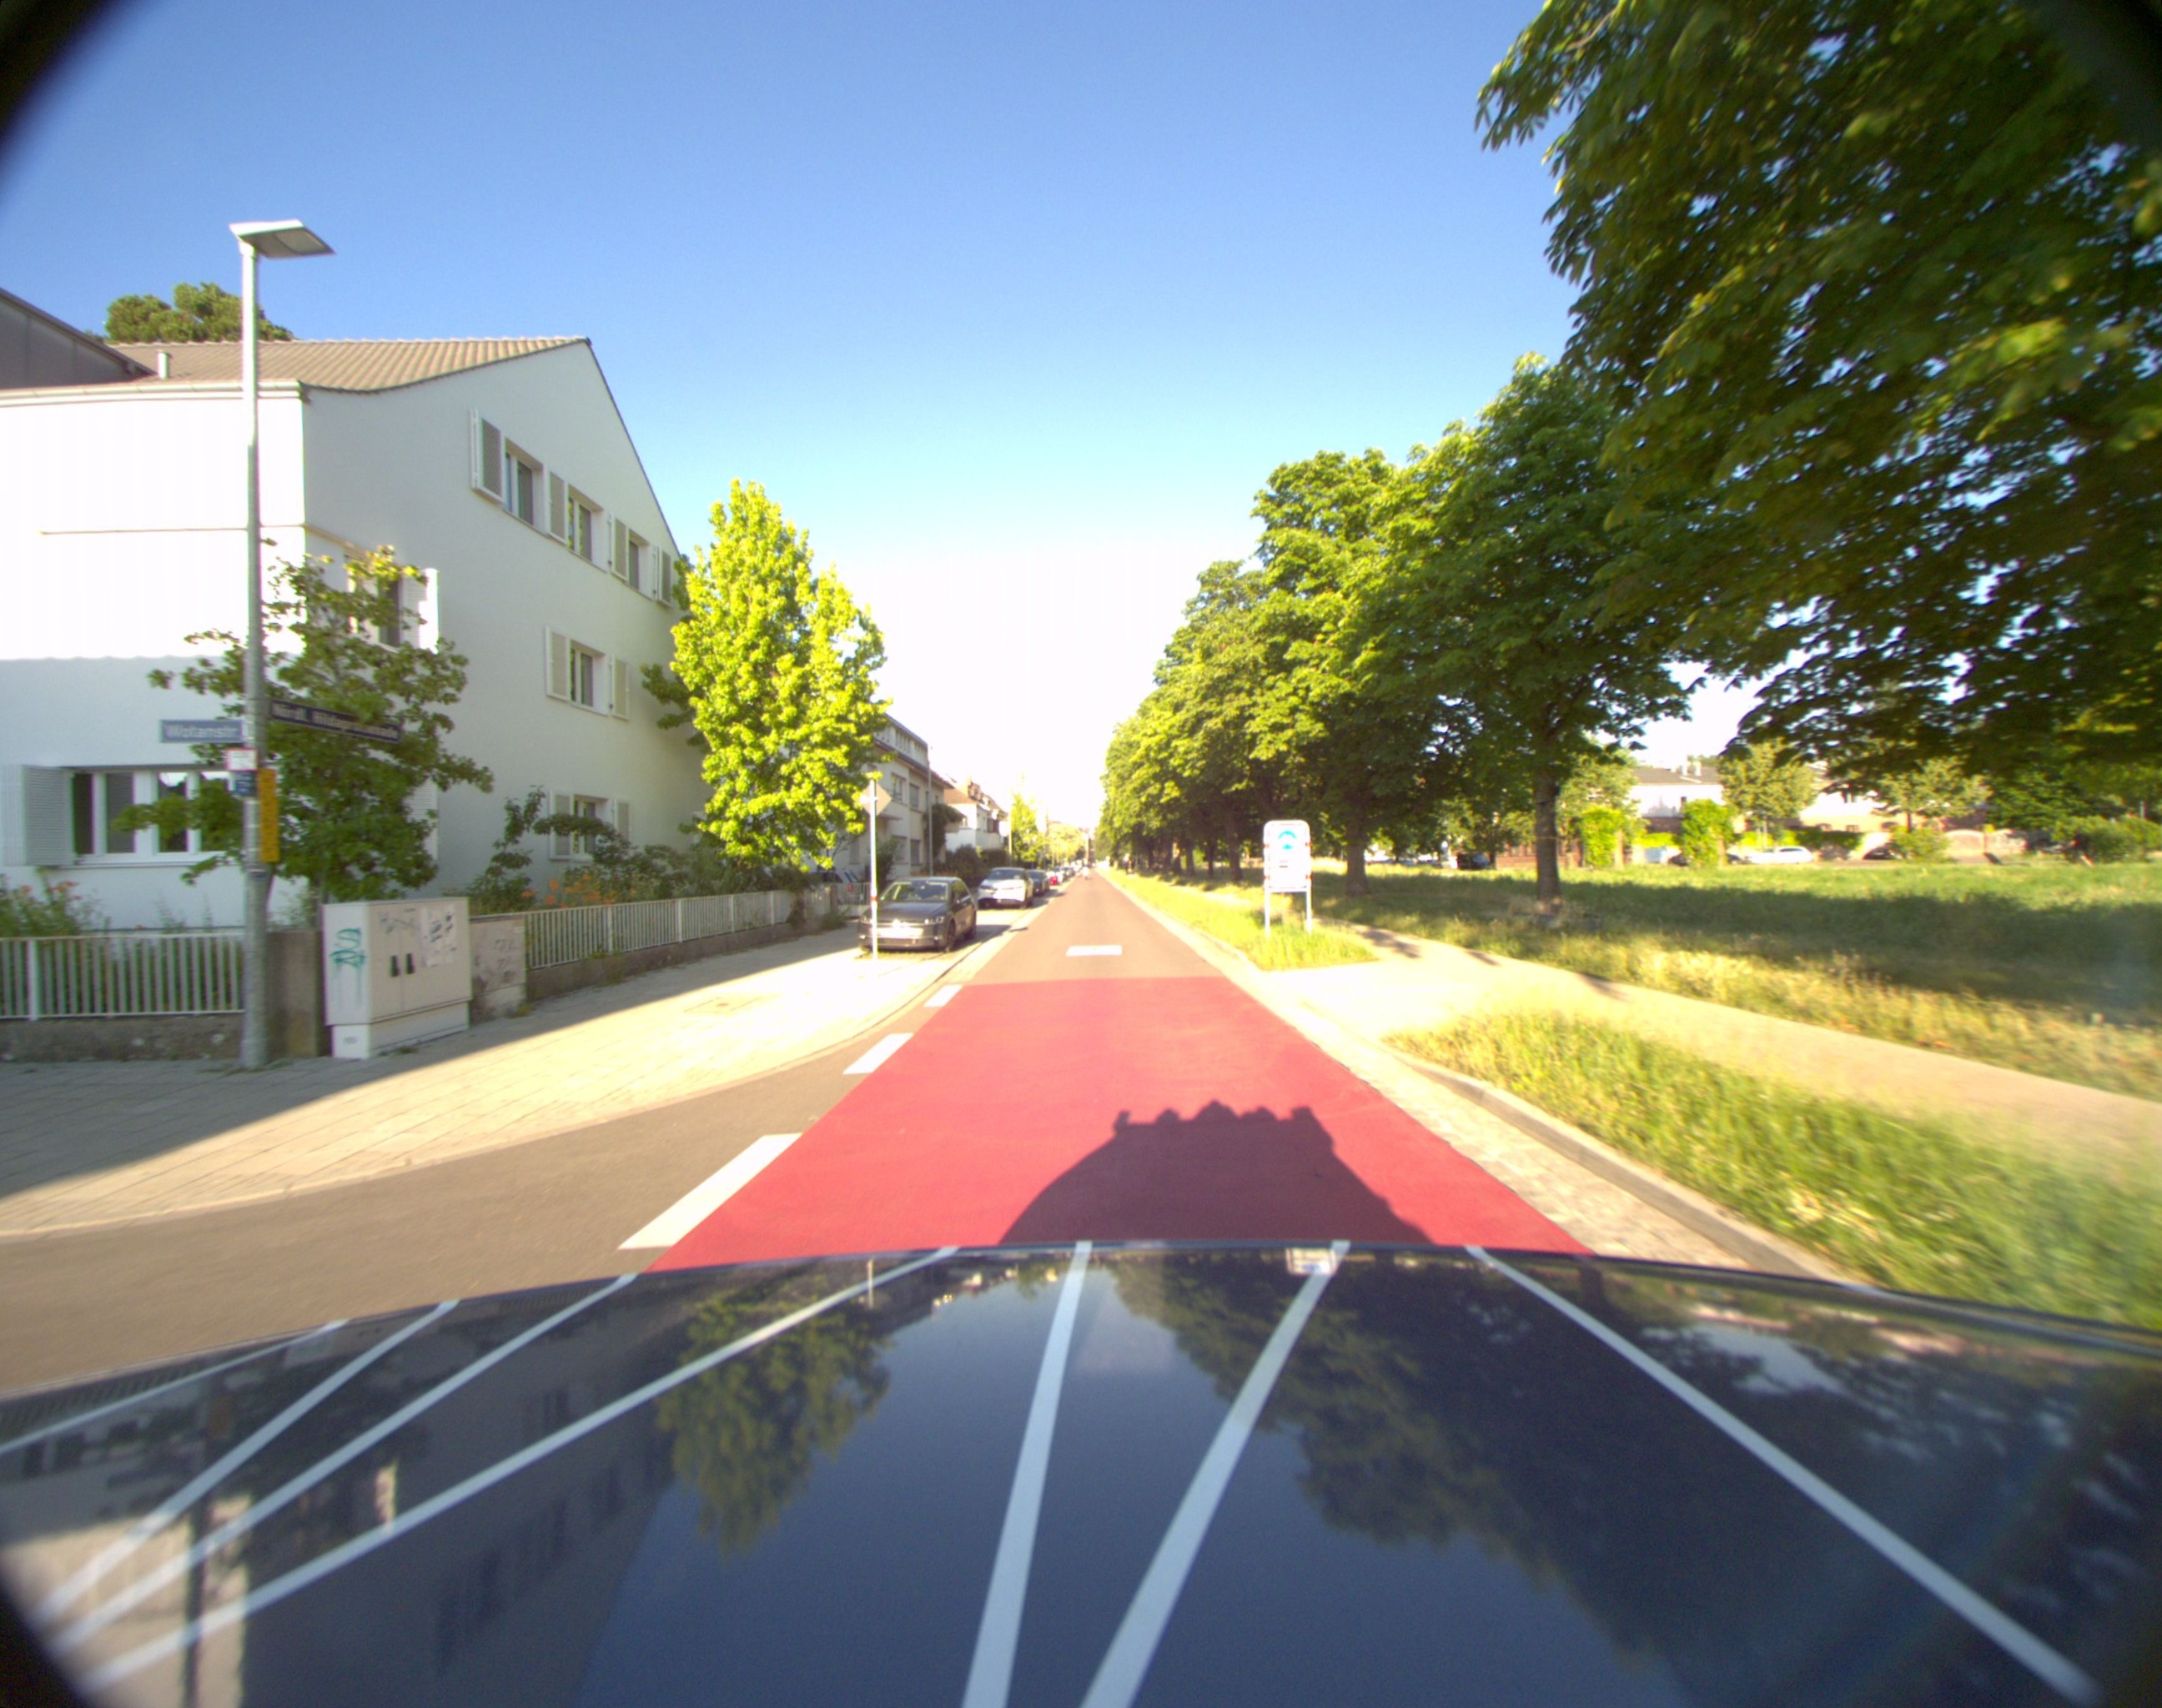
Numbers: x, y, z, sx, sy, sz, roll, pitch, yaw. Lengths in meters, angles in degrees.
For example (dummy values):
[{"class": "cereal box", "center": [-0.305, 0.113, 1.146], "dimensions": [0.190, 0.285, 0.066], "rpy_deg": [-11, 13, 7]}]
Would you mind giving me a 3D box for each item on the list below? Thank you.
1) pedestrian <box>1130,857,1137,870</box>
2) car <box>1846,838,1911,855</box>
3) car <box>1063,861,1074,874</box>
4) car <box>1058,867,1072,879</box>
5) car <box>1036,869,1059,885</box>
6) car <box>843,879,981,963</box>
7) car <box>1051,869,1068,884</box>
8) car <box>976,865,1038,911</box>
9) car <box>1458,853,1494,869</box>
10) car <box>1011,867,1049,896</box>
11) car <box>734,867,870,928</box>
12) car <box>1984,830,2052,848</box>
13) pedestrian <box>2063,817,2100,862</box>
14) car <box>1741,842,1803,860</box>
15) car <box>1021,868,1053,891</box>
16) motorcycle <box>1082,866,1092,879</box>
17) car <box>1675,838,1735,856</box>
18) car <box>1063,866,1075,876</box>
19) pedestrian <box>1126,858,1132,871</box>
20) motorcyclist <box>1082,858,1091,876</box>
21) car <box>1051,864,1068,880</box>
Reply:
[{"class": "pedestrian", "center": [7.150, 1.281, 103.823], "dimensions": [0.625, 1.840, 0.606], "rpy_deg": [-2, 0, 40]}, {"class": "car", "center": [67.069, -0.620, 63.936], "dimensions": [3.636, 1.272, 1.586], "rpy_deg": [-3, 0, 2]}, {"class": "car", "center": [-2.204, 2.476, 136.232], "dimensions": [1.844, 2.195, 3.764], "rpy_deg": [-2, -1, 1]}, {"class": "car", "center": [-2.104, 2.420, 99.391], "dimensions": [1.665, 1.526, 3.833], "rpy_deg": [0, 0, 2]}, {"class": "car", "center": [-2.754, 1.889, 63.679], "dimensions": [1.702, 1.250, 3.880], "rpy_deg": [-1, 0, 1]}, {"class": "car", "center": [-3.328, 1.270, 15.787], "dimensions": [1.798, 1.473, 4.125], "rpy_deg": [1, -2, 2]}, {"class": "car", "center": [-2.307, 2.438, 83.558], "dimensions": [1.746, 1.471, 4.057], "rpy_deg": [-2, -1, 0]}, {"class": "car", "center": [-2.934, 1.343, 31.023], "dimensions": [1.910, 1.698, 4.577], "rpy_deg": [1, -1, 2]}, {"class": "car", "center": [37.684, 0.645, 72.560], "dimensions": [1.585, 1.472, 3.640], "rpy_deg": [-3, 0, 1]}, {"class": "car", "center": [-2.841, 1.510, 42.777], "dimensions": [1.798, 1.485, 4.194], "rpy_deg": [1, -1, 1]}, {"class": "car", "center": [-9.605, 1.498, 26.408], "dimensions": [3.994, 1.833, 1.815], "rpy_deg": [-3, -2, -5]}, {"class": "car", "center": [79.451, -1.256, 64.456], "dimensions": [3.636, 1.272, 1.586], "rpy_deg": [-3, 0, 2]}, {"class": "pedestrian", "center": [39.808, -0.569, 30.233], "dimensions": [0.778, 1.714, 0.715], "rpy_deg": [-3, 0, -27]}, {"class": "car", "center": [57.338, -0.246, 63.056], "dimensions": [3.636, 1.272, 1.586], "rpy_deg": [-3, 0, 2]}, {"class": "car", "center": [-2.850, 1.650, 50.046], "dimensions": [1.798, 1.372, 4.079], "rpy_deg": [1, -1, 1]}, {"class": "motorcycle", "center": [0.693, 2.105, 87.389], "dimensions": [1.077, 1.373, 2.463], "rpy_deg": [-3, 0, 0]}, {"class": "car", "center": [51.622, -0.561, 62.896], "dimensions": [3.636, 1.272, 1.586], "rpy_deg": [-3, 0, 2]}, {"class": "car", "center": [-1.829, 2.680, 119.043], "dimensions": [1.844, 1.471, 3.764], "rpy_deg": [-2, -1, 0]}, {"class": "pedestrian", "center": [6.553, 1.433, 104.139], "dimensions": [0.625, 1.621, 0.606], "rpy_deg": [-2, 0, 27]}, {"class": "motorcyclist", "center": [0.647, 1.452, 87.483], "dimensions": [0.961, 2.002, 1.274], "rpy_deg": [-3, 0, 0]}, {"class": "car", "center": [-2.102, 1.755, 74.025], "dimensions": [1.508, 1.471, 3.493], "rpy_deg": [0, -1, 1]}]
